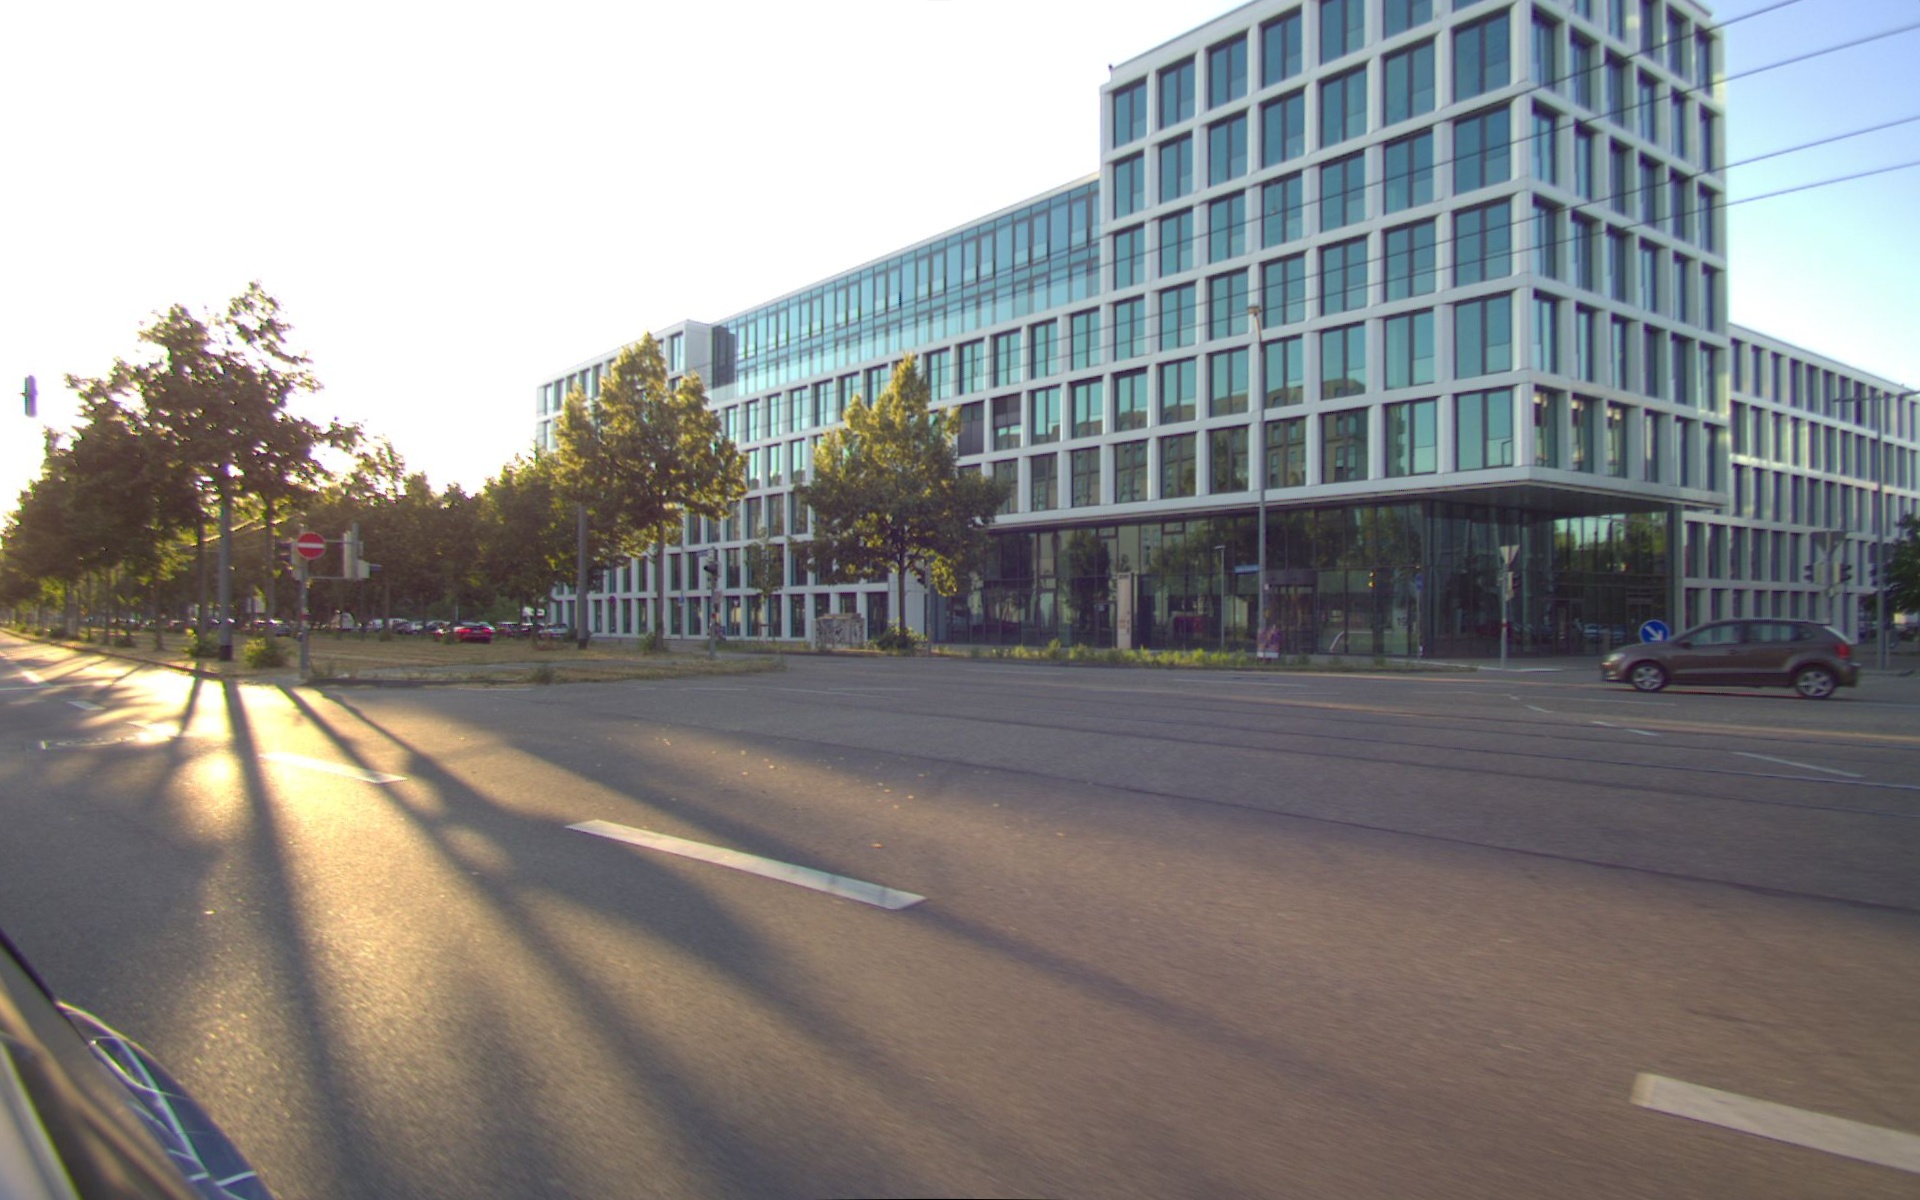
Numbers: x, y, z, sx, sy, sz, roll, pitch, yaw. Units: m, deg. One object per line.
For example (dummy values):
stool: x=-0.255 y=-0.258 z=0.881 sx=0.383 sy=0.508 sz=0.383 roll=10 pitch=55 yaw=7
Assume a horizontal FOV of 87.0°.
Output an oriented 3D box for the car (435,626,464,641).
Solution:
car: x=-55.316 y=3.581 z=109.559 sx=1.968 sy=1.604 sz=4.343 roll=1 pitch=-2 yaw=-39

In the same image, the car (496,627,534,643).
car: x=-40.066 y=3.134 z=91.079 sx=4.000 sy=1.413 sz=1.739 roll=-2 pitch=-2 yaw=43

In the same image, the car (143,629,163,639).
car: x=-111.986 y=4.708 z=140.387 sx=4.000 sy=1.413 sz=1.627 roll=-2 pitch=-2 yaw=44

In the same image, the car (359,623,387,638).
car: x=-73.180 y=3.782 z=126.138 sx=4.613 sy=1.754 sz=1.971 roll=-2 pitch=-2 yaw=45

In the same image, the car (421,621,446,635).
car: x=-66.969 y=3.579 z=128.666 sx=4.002 sy=1.719 sz=1.747 roll=-2 pitch=-2 yaw=45

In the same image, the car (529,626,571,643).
car: x=-34.400 y=2.879 z=84.912 sx=4.000 sy=1.413 sz=1.739 roll=-2 pitch=-2 yaw=43

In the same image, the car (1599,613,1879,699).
car: x=14.440 y=0.990 z=18.976 sx=3.996 sy=1.460 sz=1.624 roll=-1 pitch=-2 yaw=39

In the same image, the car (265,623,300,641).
car: x=-56.979 y=2.693 z=85.114 sx=4.000 sy=1.413 sz=1.627 roll=-2 pitch=-2 yaw=44

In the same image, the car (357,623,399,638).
car: x=-70.653 y=3.670 z=122.791 sx=2.000 sy=1.754 sz=4.028 roll=-2 pitch=-2 yaw=42

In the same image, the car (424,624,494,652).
car: x=-27.858 y=2.087 z=56.223 sx=4.901 sy=1.445 sz=1.971 roll=-1 pitch=-2 yaw=44

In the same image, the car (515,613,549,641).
car: x=-47.758 y=3.024 z=112.834 sx=2.131 sy=3.014 sz=5.733 roll=1 pitch=-2 yaw=-37

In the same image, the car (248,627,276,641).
car: x=-71.990 y=3.495 z=104.360 sx=4.000 sy=1.413 sz=1.627 roll=-2 pitch=-2 yaw=44

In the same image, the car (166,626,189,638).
car: x=-96.934 y=3.979 z=125.361 sx=4.000 sy=1.413 sz=1.627 roll=-2 pitch=-2 yaw=44

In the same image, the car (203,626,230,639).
car: x=-79.240 y=3.468 z=107.832 sx=4.000 sy=1.413 sz=1.627 roll=-2 pitch=-2 yaw=44
